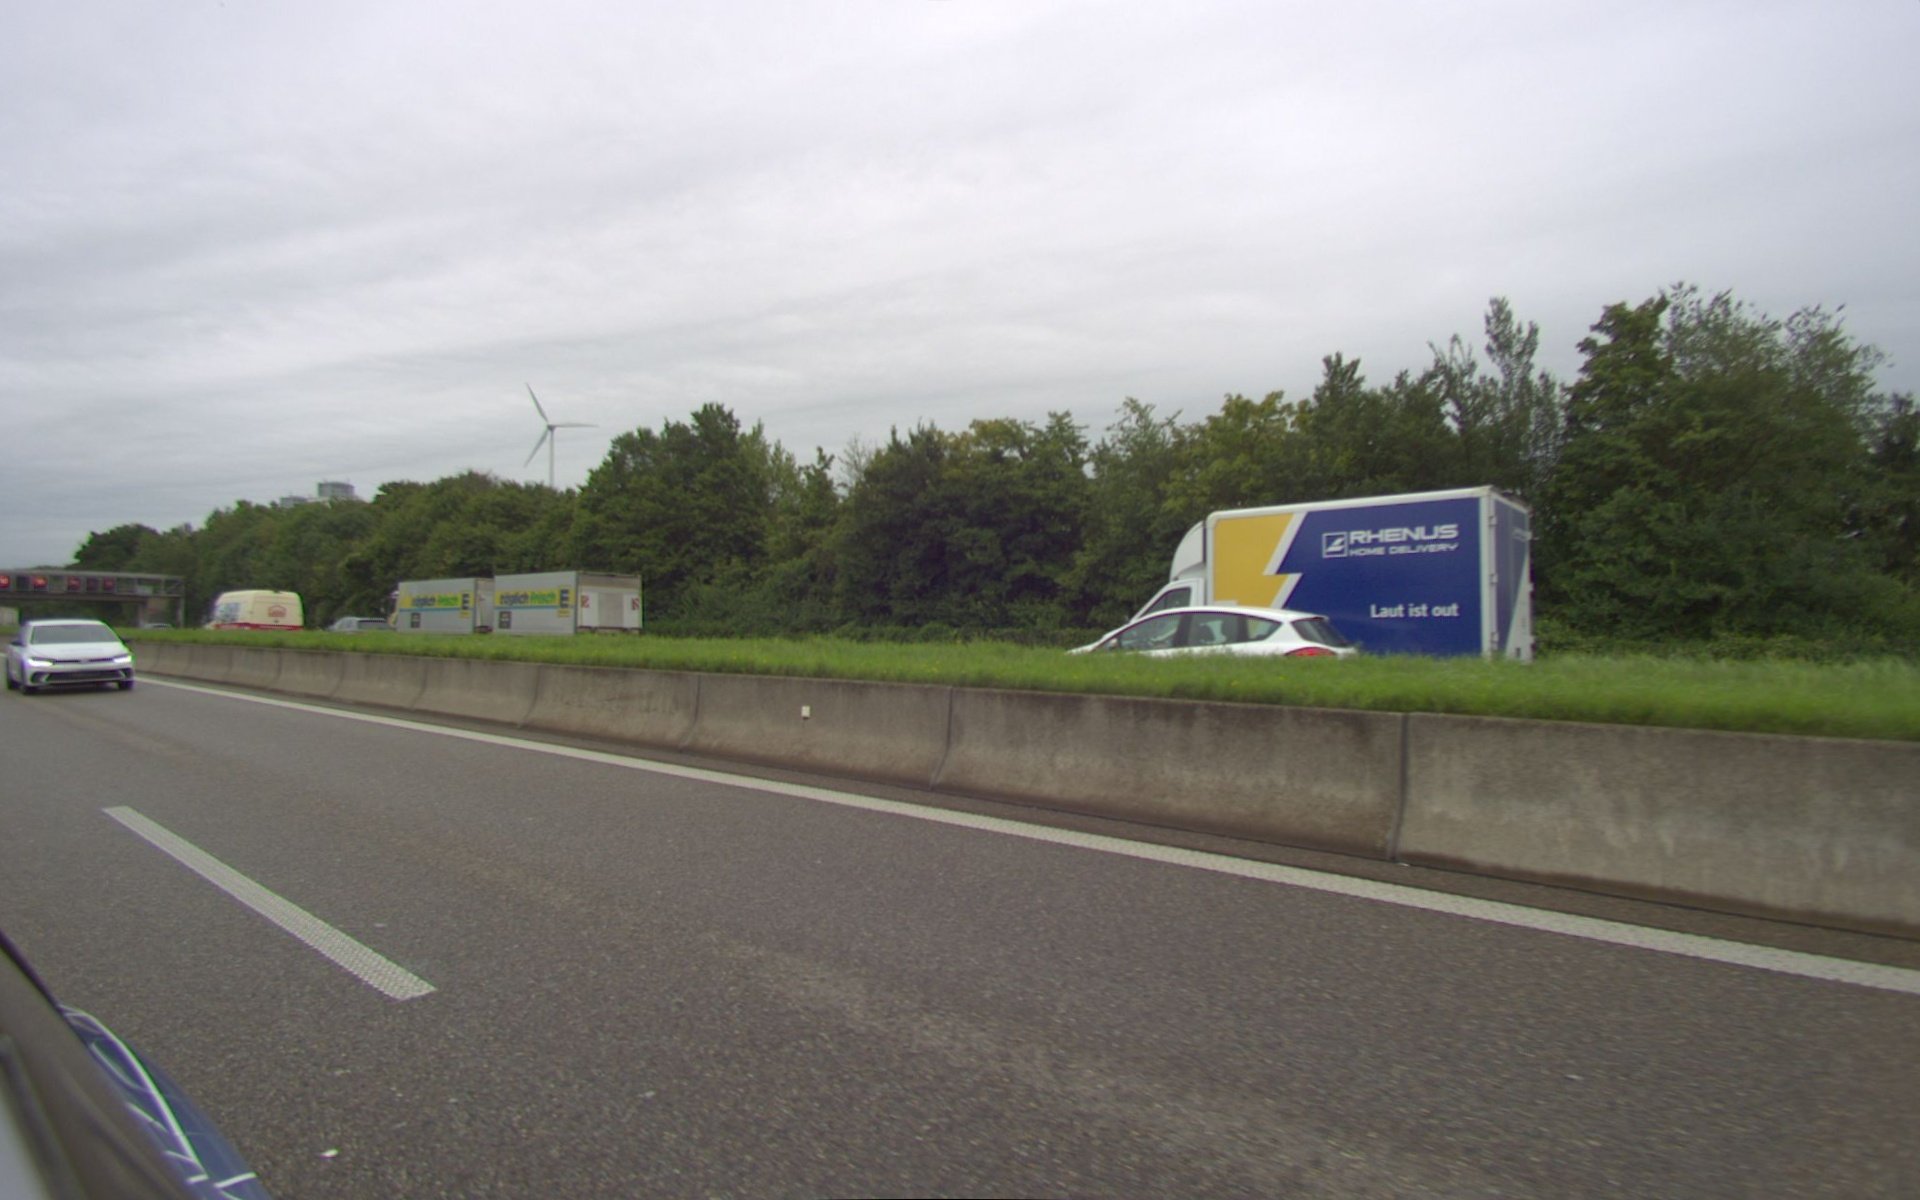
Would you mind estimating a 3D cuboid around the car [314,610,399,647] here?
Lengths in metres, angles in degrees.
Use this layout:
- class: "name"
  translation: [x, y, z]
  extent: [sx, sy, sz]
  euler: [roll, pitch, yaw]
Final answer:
- class: "car"
  translation: [-25.352, 1.174, 42.453]
  extent: [3.999, 1.423, 1.972]
  euler: [-1, 0, 42]

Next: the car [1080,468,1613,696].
- class: "car"
  translation: [5.526, -0.194, 15.569]
  extent: [7.313, 2.755, 2.297]
  euler: [-1, 0, 42]

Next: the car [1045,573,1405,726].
- class: "car"
  translation: [3.315, 0.550, 13.130]
  extent: [4.147, 1.674, 1.803]
  euler: [-1, 0, 41]

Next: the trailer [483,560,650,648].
- class: "trailer"
  translation: [-15.357, 0.159, 39.131]
  extent: [7.870, 3.100, 2.748]
  euler: [-1, 0, 42]

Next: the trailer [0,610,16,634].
- class: "trailer"
  translation: [-147.893, 3.297, 155.664]
  extent: [11.865, 3.566, 2.658]
  euler: [-1, 0, 41]

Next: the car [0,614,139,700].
- class: "car"
  translation: [-18.876, 1.127, 21.270]
  extent: [4.661, 1.630, 1.735]
  euler: [-1, -2, 41]

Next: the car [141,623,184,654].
- class: "car"
  translation: [-55.354, 2.618, 70.232]
  extent: [3.952, 2.029, 1.684]
  euler: [-1, 0, 41]

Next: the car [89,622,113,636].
- class: "car"
  translation: [-120.090, 4.006, 141.453]
  extent: [4.303, 1.802, 1.972]
  euler: [-1, 0, 43]

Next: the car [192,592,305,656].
- class: "car"
  translation: [-29.035, 0.937, 41.167]
  extent: [7.319, 2.403, 2.037]
  euler: [-1, 0, 41]

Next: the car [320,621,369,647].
- class: "car"
  translation: [-45.937, 2.532, 75.489]
  extent: [3.997, 1.807, 1.973]
  euler: [-1, 0, 40]

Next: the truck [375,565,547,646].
- class: "truck"
  translation: [-22.666, 0.261, 45.518]
  extent: [11.353, 3.245, 2.854]
  euler: [-1, 0, 42]
